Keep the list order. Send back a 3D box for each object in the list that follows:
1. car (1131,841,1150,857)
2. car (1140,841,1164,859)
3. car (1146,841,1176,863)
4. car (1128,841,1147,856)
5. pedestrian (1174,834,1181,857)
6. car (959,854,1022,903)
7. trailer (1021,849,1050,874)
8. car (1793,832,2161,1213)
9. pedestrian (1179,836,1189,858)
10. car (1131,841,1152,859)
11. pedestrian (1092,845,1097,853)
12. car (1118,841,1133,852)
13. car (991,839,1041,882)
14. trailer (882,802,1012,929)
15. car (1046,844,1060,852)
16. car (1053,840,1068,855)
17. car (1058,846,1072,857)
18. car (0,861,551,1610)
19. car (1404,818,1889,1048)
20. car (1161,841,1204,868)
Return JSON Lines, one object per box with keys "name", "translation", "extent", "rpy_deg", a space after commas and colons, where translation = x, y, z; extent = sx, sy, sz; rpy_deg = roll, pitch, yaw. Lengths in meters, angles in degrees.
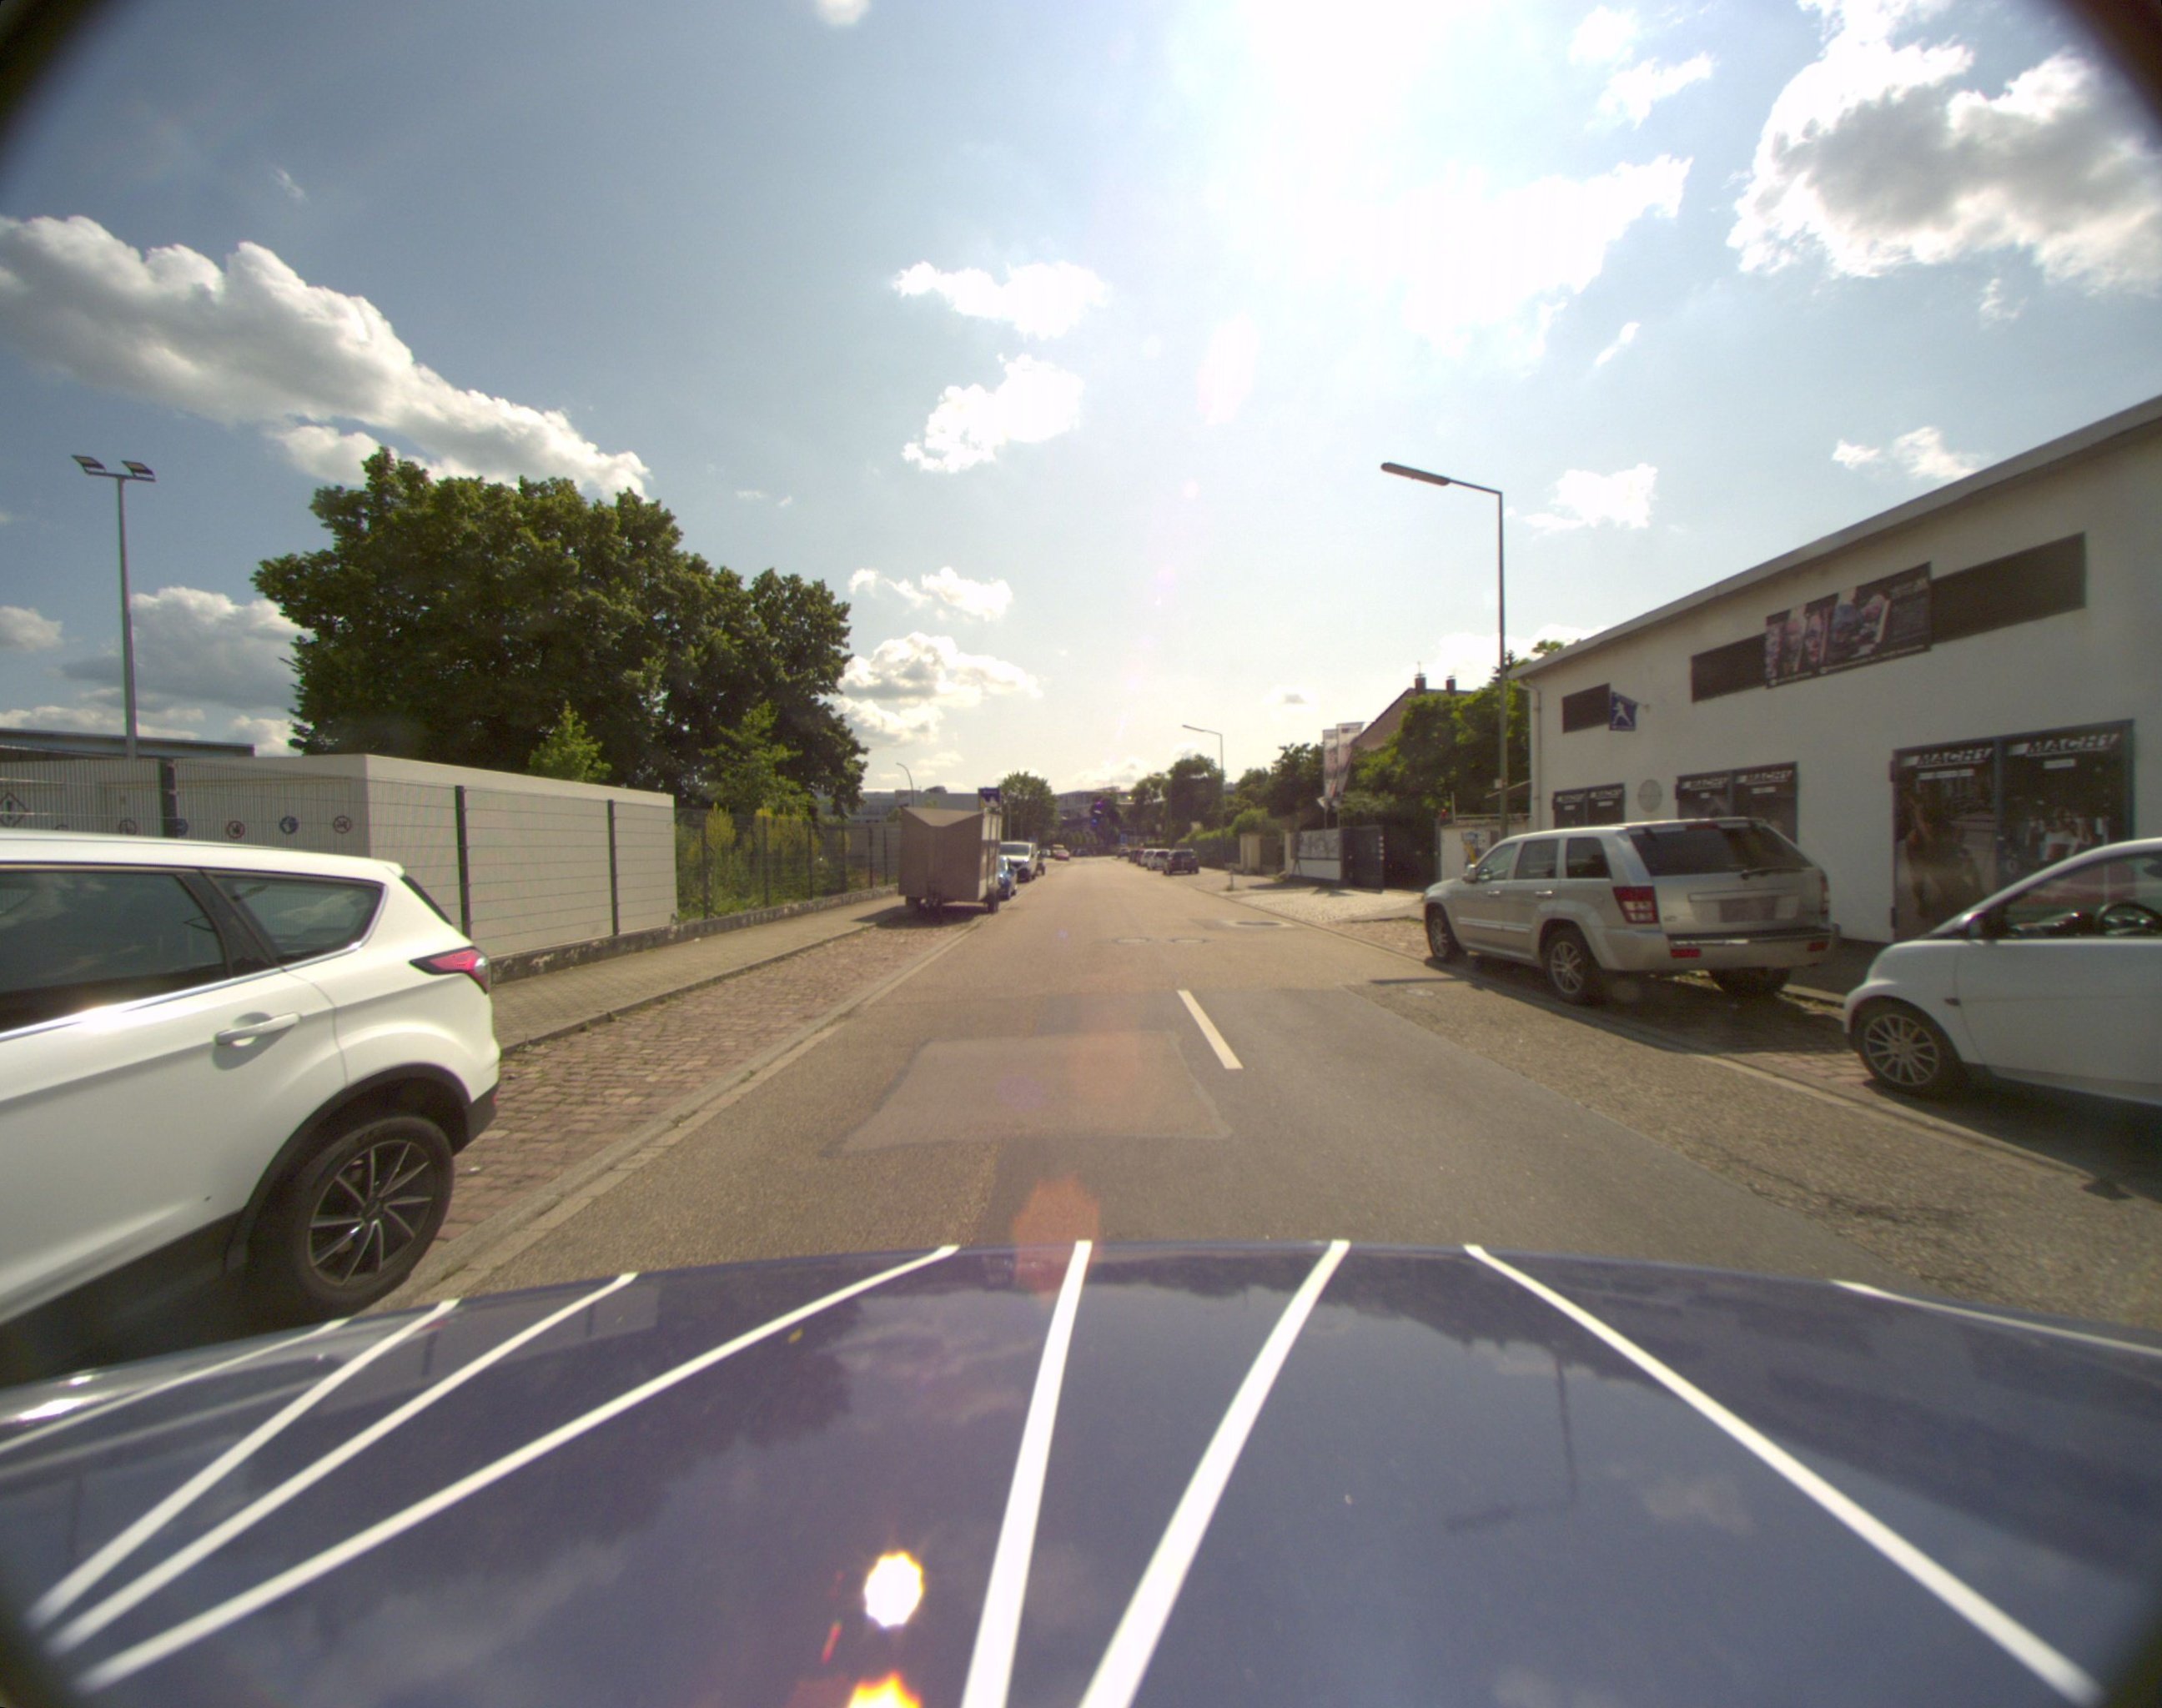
{"name": "car", "translation": [6.555, -0.555, 83.436], "extent": [1.655, 1.636, 3.272], "rpy_deg": [-4, 1, -1]}
{"name": "car", "translation": [6.187, -0.339, 66.597], "extent": [1.649, 1.469, 4.028], "rpy_deg": [-2, 1, 0]}
{"name": "car", "translation": [6.009, -0.165, 57.357], "extent": [1.625, 1.514, 4.174], "rpy_deg": [-2, 1, -2]}
{"name": "car", "translation": [6.561, -0.637, 88.097], "extent": [1.849, 1.499, 3.999], "rpy_deg": [-4, 1, 1]}
{"name": "pedestrian", "translation": [7.874, -0.681, 62.265], "extent": [0.452, 1.883, 0.677], "rpy_deg": [-1, 2, 1]}
{"name": "car", "translation": [-3.040, 0.780, 26.272], "extent": [1.695, 1.452, 4.069], "rpy_deg": [1, 2, 0]}
{"name": "trailer", "translation": [-2.950, 0.470, 49.035], "extent": [1.754, 1.409, 4.546], "rpy_deg": [2, 2, -4]}
{"name": "car", "translation": [5.523, 0.735, 3.527], "extent": [1.613, 1.565, 3.009], "rpy_deg": [-5, 1, 3]}
{"name": "pedestrian", "translation": [8.473, -0.552, 62.525], "extent": [0.710, 1.791, 0.915], "rpy_deg": [-1, 2, 1]}
{"name": "car", "translation": [5.681, -0.388, 71.325], "extent": [1.670, 1.458, 3.743], "rpy_deg": [-3, 1, 2]}
{"name": "pedestrian", "translation": [2.795, -1.027, 157.919], "extent": [0.845, 1.682, 0.830], "rpy_deg": [-3, 2, -8]}
{"name": "car", "translation": [6.855, -1.237, 117.834], "extent": [1.762, 1.565, 4.475], "rpy_deg": [-2, 1, -3]}
{"name": "car", "translation": [-3.227, 0.271, 38.895], "extent": [1.998, 2.002, 5.648], "rpy_deg": [-1, 1, 1]}
{"name": "trailer", "translation": [-3.215, 0.179, 19.754], "extent": [2.210, 2.721, 6.220], "rpy_deg": [2, 2, 0]}
{"name": "car", "translation": [-5.237, -1.073, 143.061], "extent": [1.839, 1.484, 4.650], "rpy_deg": [0, 1, -12]}
{"name": "car", "translation": [-3.595, -1.115, 131.236], "extent": [2.163, 2.451, 6.634], "rpy_deg": [0, 1, -5]}
{"name": "car", "translation": [-2.221, -0.389, 106.922], "extent": [1.758, 1.478, 4.224], "rpy_deg": [2, 1, 1]}
{"name": "car", "translation": [-3.504, 0.926, 1.253], "extent": [1.940, 1.684, 4.679], "rpy_deg": [1, 1, 1]}
{"name": "car", "translation": [5.487, 0.583, 8.382], "extent": [1.795, 1.710, 4.750], "rpy_deg": [-4, 1, 1]}
{"name": "car", "translation": [5.940, 0.009, 44.914], "extent": [1.810, 1.410, 4.495], "rpy_deg": [-3, 1, 0]}
